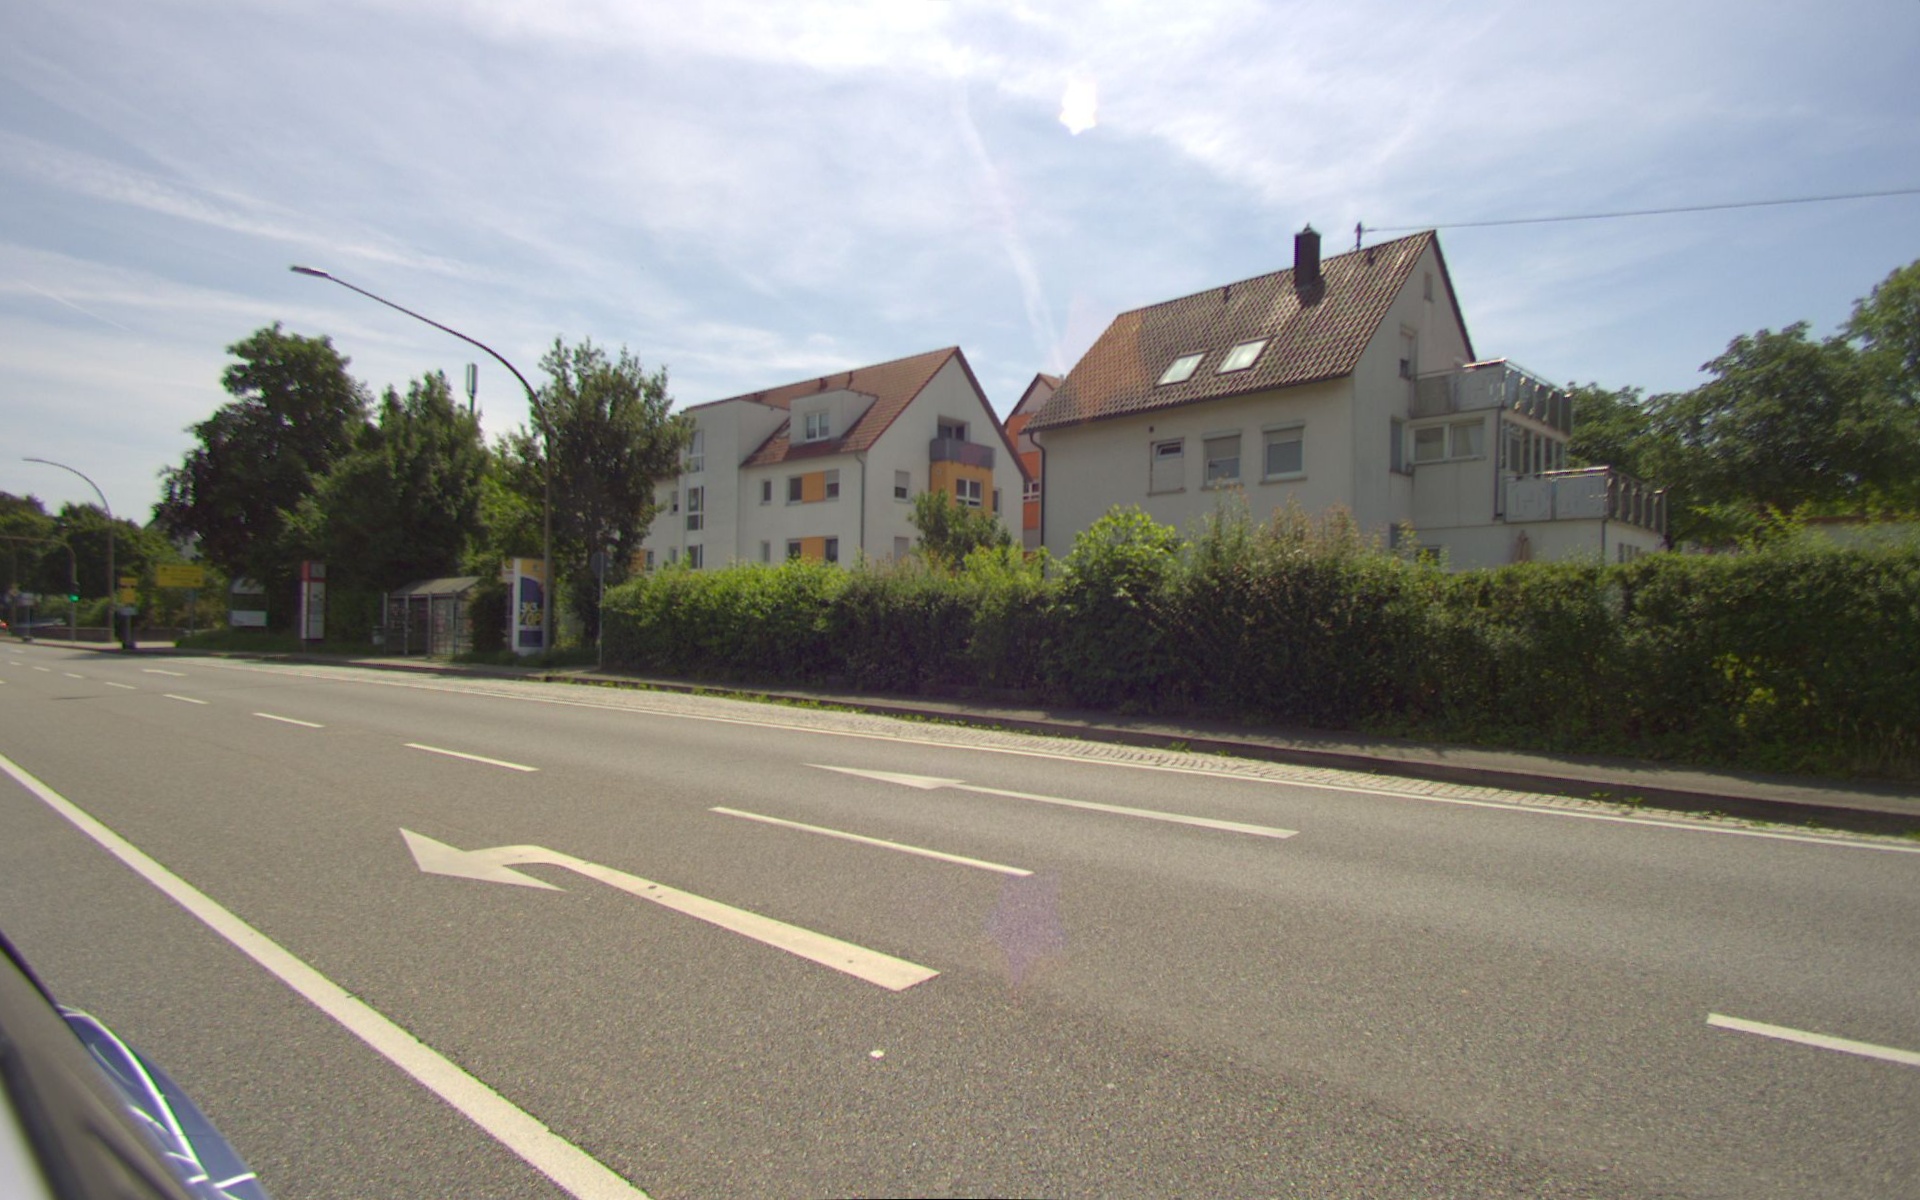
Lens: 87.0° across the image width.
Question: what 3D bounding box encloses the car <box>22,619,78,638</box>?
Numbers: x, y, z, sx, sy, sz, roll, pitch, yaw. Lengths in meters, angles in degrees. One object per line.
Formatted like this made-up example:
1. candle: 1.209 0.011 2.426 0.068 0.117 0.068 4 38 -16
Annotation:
1. car: -93.841 2.899 104.381 1.997 1.783 3.950 0 1 38
